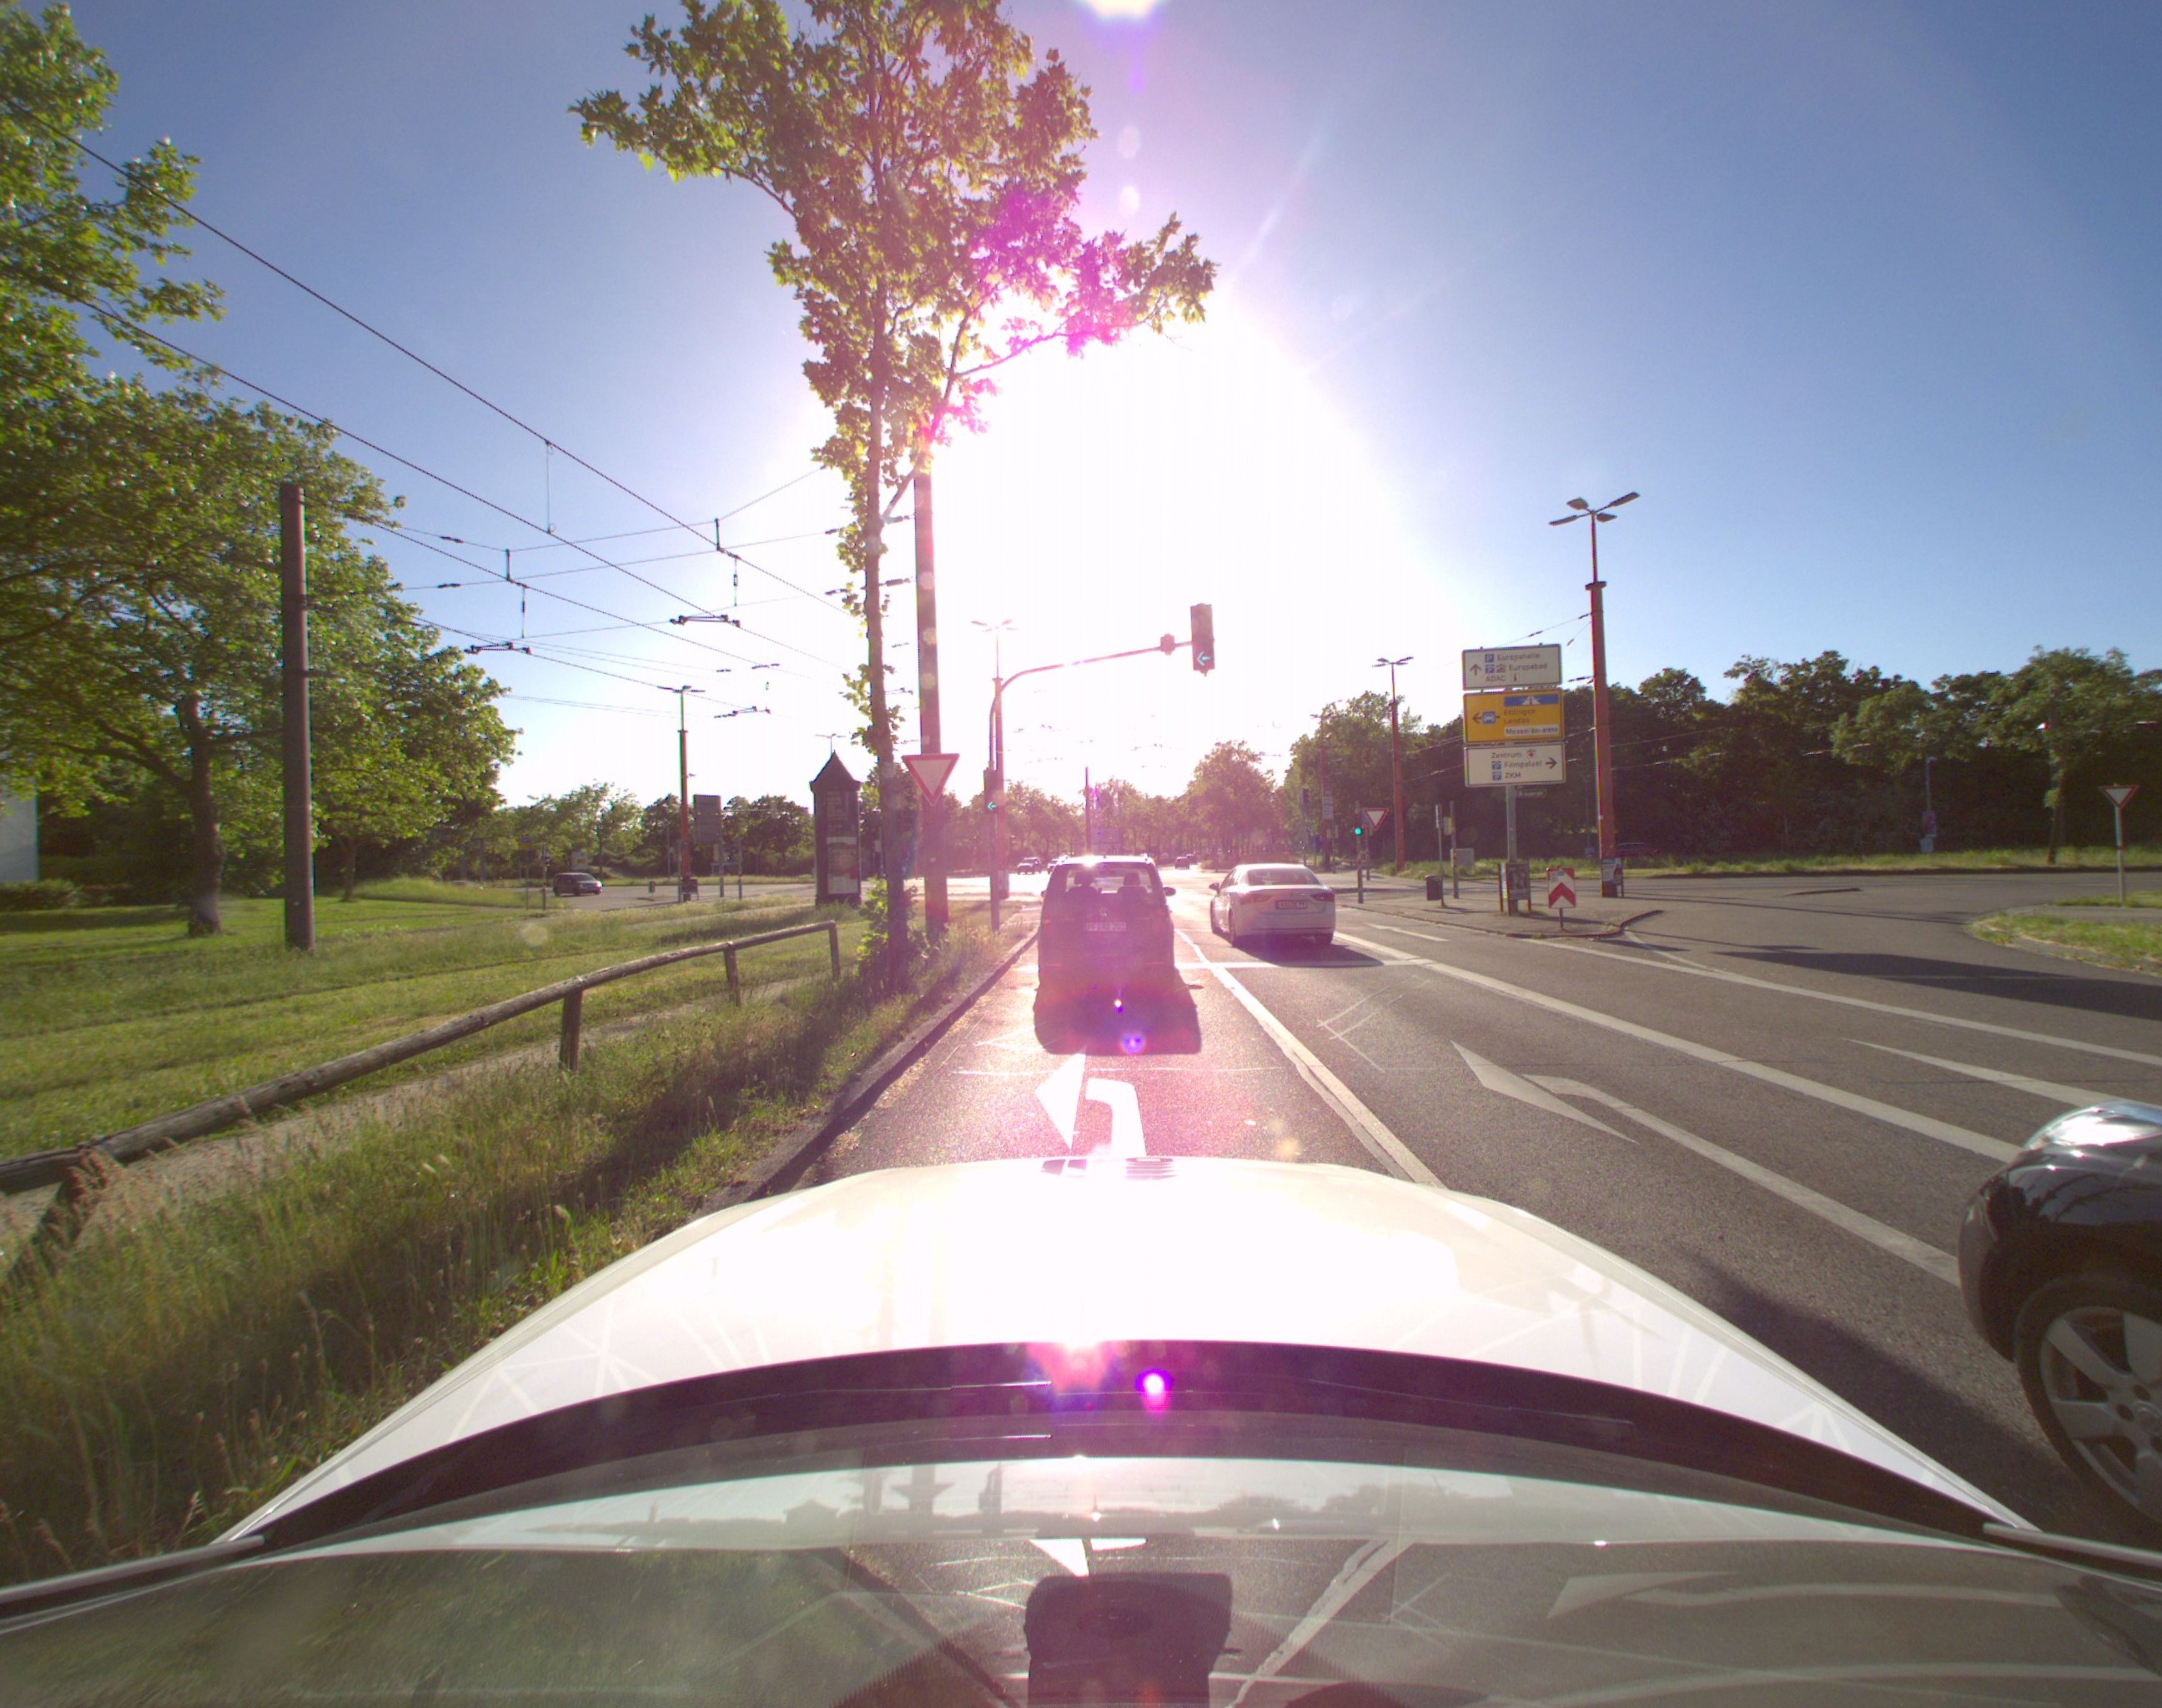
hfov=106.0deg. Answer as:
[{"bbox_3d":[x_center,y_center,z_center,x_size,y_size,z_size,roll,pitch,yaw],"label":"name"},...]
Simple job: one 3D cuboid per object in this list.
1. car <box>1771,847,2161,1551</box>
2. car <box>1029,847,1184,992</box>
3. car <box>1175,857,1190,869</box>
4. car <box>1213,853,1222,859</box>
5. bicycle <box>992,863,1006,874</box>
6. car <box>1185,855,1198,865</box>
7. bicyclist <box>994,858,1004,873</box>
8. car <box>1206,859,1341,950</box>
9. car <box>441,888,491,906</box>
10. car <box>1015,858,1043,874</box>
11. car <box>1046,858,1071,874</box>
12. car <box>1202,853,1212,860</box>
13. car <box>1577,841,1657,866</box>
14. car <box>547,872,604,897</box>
[{"bbox_3d":[3.121,0.727,0.394,1.728,1.482,4.624,-2,0,2],"label":"car"},{"bbox_3d":[0.375,0.771,11.973,1.761,1.644,4.925,-2,0,2],"label":"car"},{"bbox_3d":[12.339,1.104,98.926,1.779,1.388,4.059,-1,0,8],"label":"car"},{"bbox_3d":[30.574,0.458,182.213,1.781,1.388,4.056,-1,0,6],"label":"car"},{"bbox_3d":[-9.215,1.619,91.436,0.757,1.091,2.025,-2,0,19],"label":"bicycle"},{"bbox_3d":[16.856,0.927,124.222,1.862,1.627,4.008,0,-1,7],"label":"car"},{"bbox_3d":[-9.200,1.291,91.513,0.753,1.557,0.986,-2,0,19],"label":"bicyclist"},{"bbox_3d":[3.544,0.858,15.794,1.760,1.464,4.369,-2,0,3],"label":"car"},{"bbox_3d":[-56.739,3.951,75.110,4.507,1.474,1.917,-2,1,29],"label":"car"},{"bbox_3d":[-5.807,1.304,90.832,1.889,1.726,4.669,-2,0,12],"label":"car"},{"bbox_3d":[-2.394,1.295,88.418,1.756,1.538,4.104,-2,0,11],"label":"car"},{"bbox_3d":[24.867,0.490,160.985,1.780,1.502,4.058,-1,0,7],"label":"car"},{"bbox_3d":[35.359,-0.047,53.820,4.234,1.495,2.012,-2,0,29],"label":"car"},{"bbox_3d":[-40.607,2.445,65.401,4.390,1.775,1.917,-2,1,29],"label":"car"}]
